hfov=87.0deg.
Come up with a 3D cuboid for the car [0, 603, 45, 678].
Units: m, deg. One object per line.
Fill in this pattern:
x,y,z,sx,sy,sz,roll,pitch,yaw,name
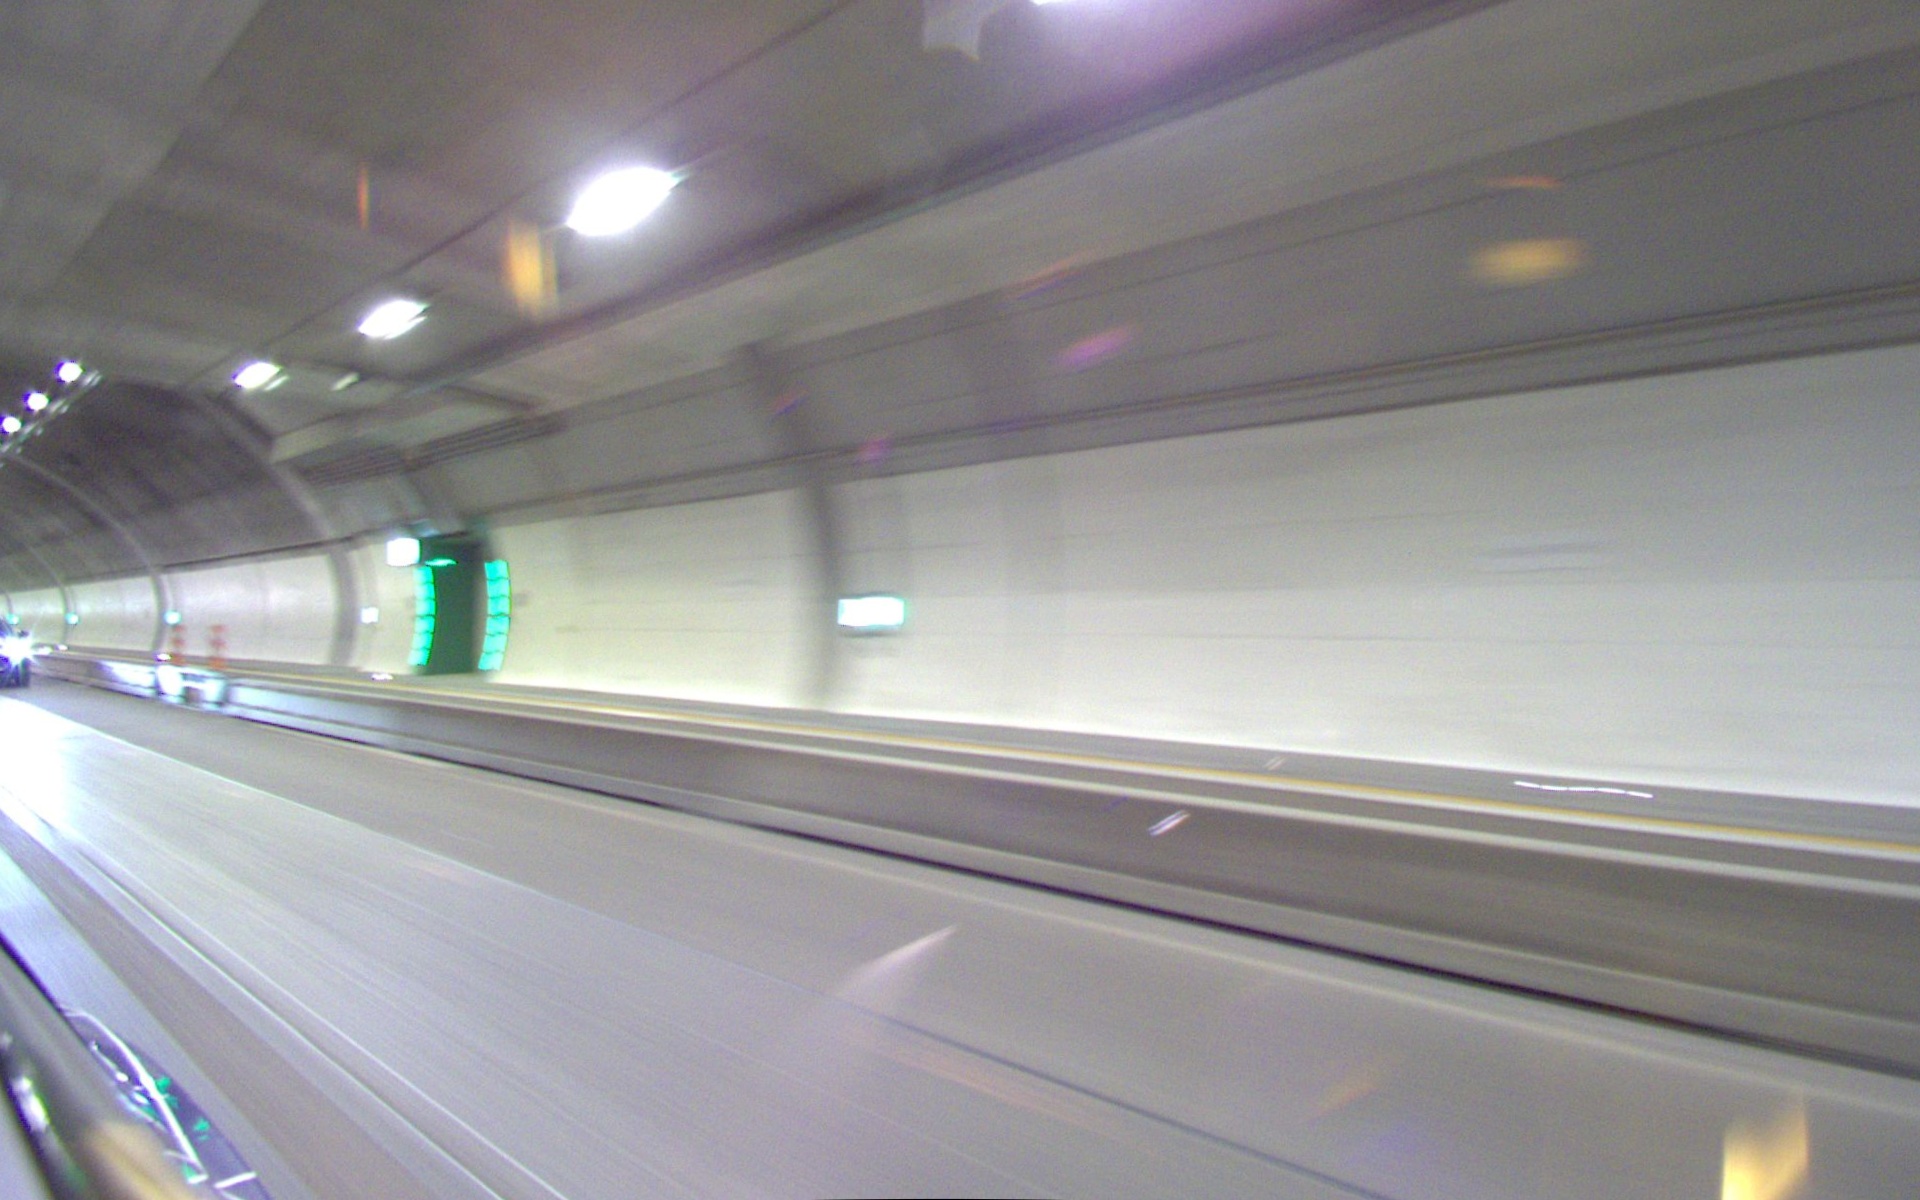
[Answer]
-21.919,0.877,22.417,4.741,1.552,1.972,-1,0,42,car
